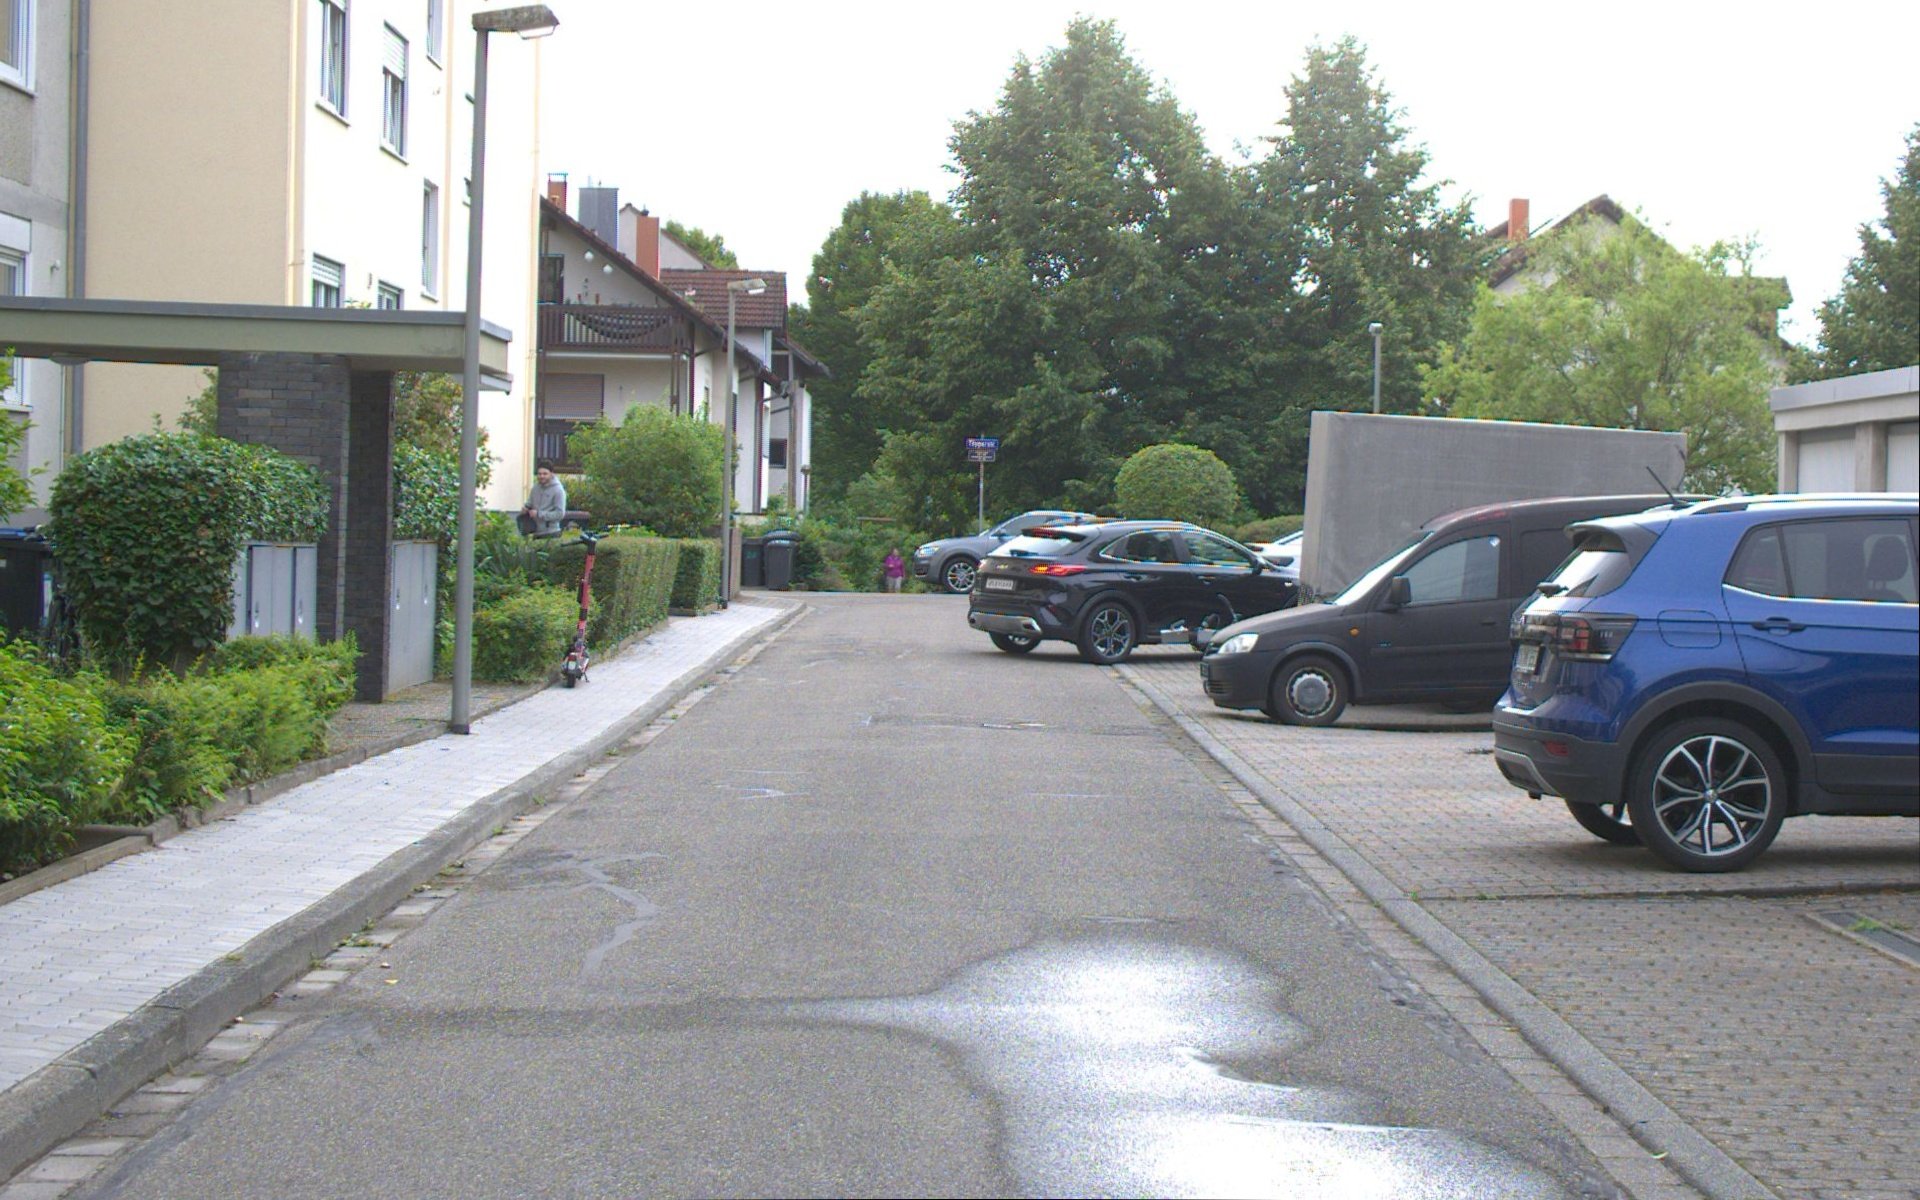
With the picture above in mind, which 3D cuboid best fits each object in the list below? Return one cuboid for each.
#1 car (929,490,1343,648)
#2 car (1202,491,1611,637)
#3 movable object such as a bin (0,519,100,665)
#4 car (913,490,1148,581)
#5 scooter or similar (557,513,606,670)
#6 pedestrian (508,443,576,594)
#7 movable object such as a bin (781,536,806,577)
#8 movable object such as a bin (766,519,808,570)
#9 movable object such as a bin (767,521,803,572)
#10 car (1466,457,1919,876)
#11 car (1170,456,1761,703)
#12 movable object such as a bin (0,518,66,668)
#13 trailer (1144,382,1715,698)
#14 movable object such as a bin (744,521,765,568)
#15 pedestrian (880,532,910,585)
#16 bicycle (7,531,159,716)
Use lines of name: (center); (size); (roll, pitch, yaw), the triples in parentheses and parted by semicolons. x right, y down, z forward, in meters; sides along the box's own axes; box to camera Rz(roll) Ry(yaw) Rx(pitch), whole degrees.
car: (1.892, -0.366, 36.614); (3.987, 1.546, 2.000); (-2, 2, -34)
car: (5.154, -0.440, 40.203); (4.537, 1.583, 1.988); (1, 2, 2)
movable object such as a bin: (-6.597, -0.064, 24.825); (0.623, 1.030, 0.589); (1, 1, -1)
car: (1.274, -1.182, 63.287); (4.237, 1.526, 1.747); (1, 0, 0)
scooter or similar: (-3.013, -0.080, 27.406); (0.272, 1.206, 1.165); (1, 2, -1)
pedestrian: (-4.953, -0.969, 40.748); (0.679, 1.743, 0.756); (2, 1, -2)
movable object such as a bin: (-3.265, -0.851, 67.284); (0.459, 0.795, 0.379); (2, 1, -3)
movable object such as a bin: (-3.325, -1.071, 66.128); (0.733, 0.950, 0.584); (2, 1, -1)
movable object such as a bin: (-3.327, -1.017, 65.371); (0.638, 0.950, 0.723); (2, 1, -1)
car: (4.392, 0.219, 15.162); (3.987, 1.697, 2.000); (-1, 2, -1)
car: (3.892, -0.188, 27.039); (4.310, 1.795, 2.000); (-1, 2, -1)
movable object such as a bin: (-6.639, -0.057, 23.975); (0.536, 1.015, 0.579); (2, 2, 21)
trailer: (3.982, -0.529, 29.763); (4.609, 2.516, 1.943); (2, 2, 0)
movable object such as a bin: (-4.000, -1.079, 66.895); (0.386, 0.886, 0.379); (2, 1, -3)
pedestrian: (-1.895, -1.211, 100.292); (0.815, 1.512, 0.438); (1, 1, -2)
bicycle: (-5.257, 0.120, 20.674); (0.453, 1.030, 1.546); (3, 2, 1)
